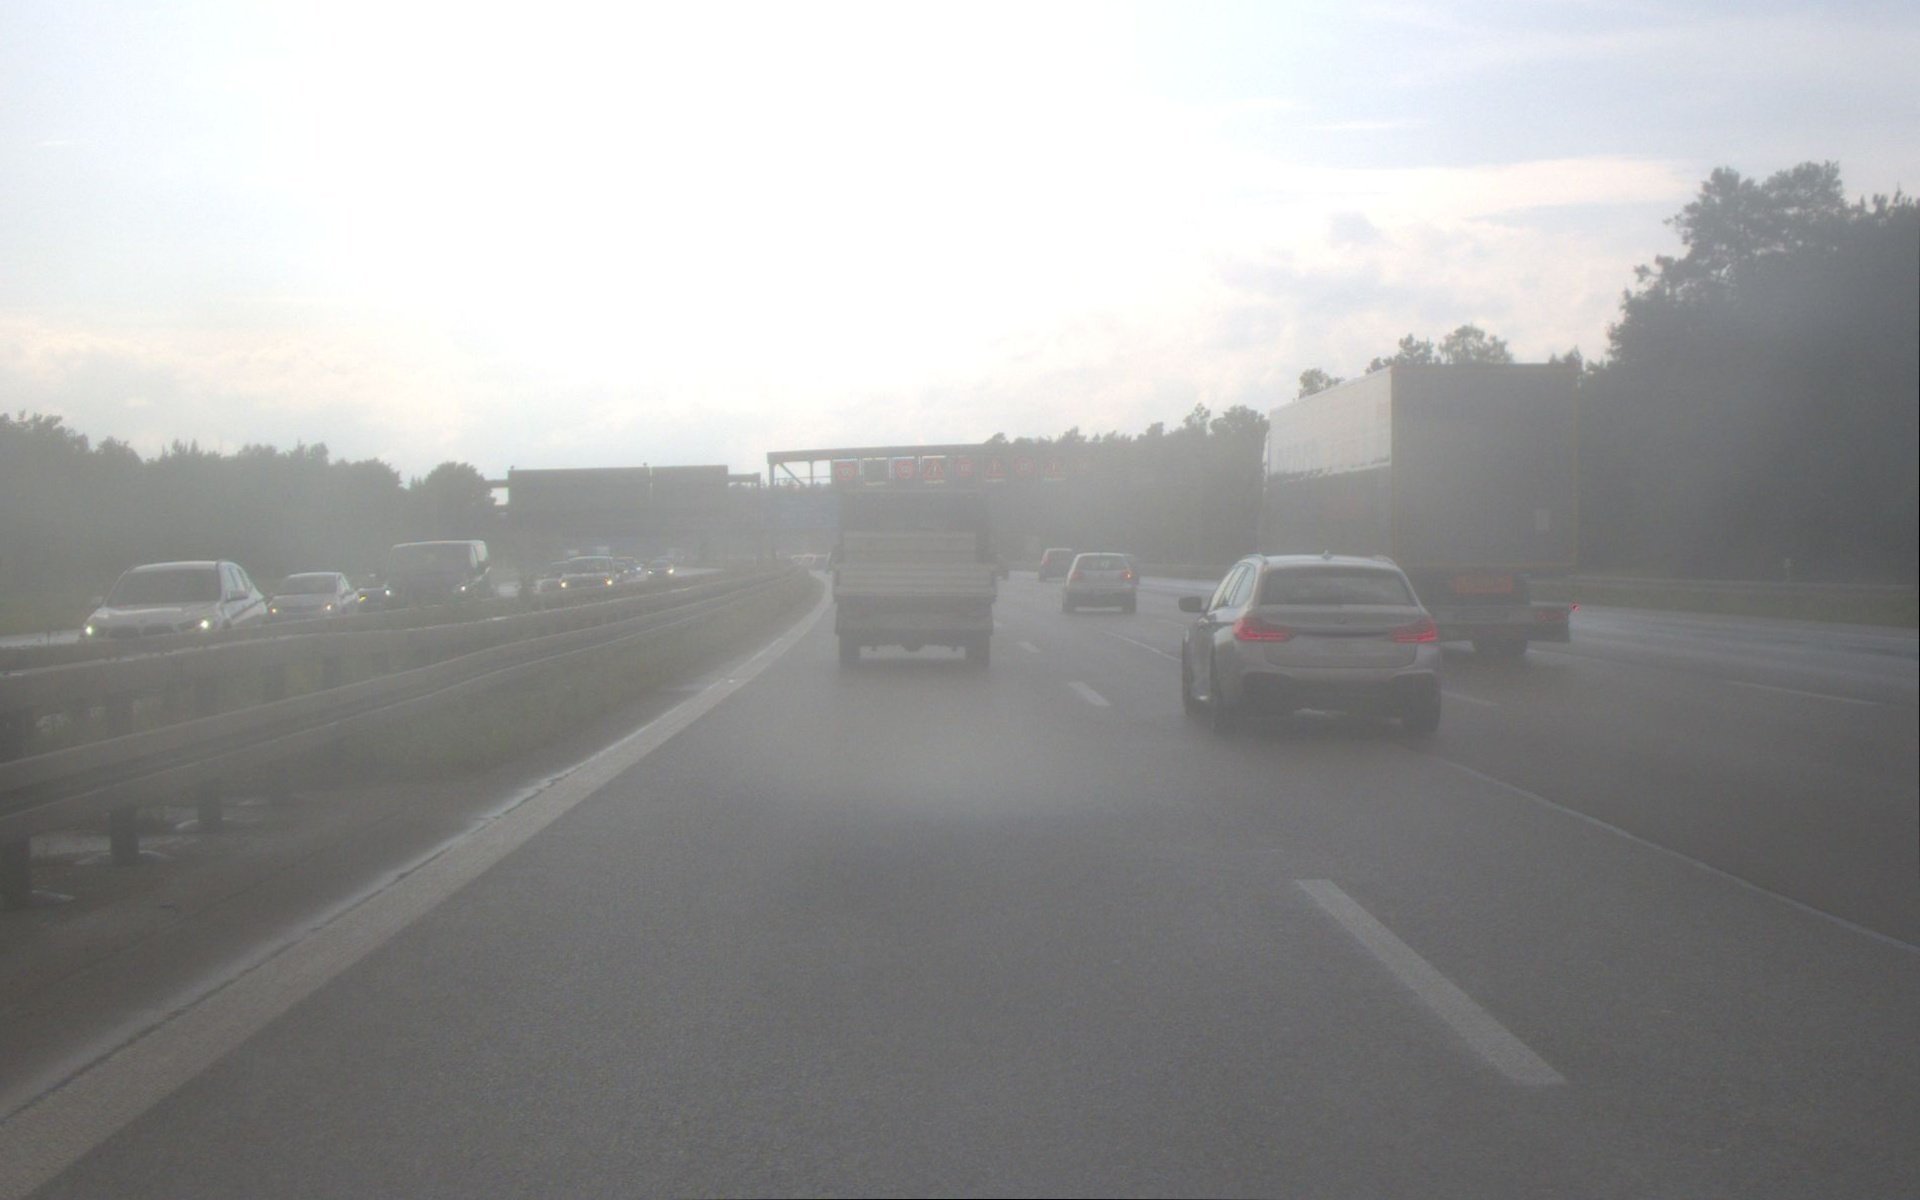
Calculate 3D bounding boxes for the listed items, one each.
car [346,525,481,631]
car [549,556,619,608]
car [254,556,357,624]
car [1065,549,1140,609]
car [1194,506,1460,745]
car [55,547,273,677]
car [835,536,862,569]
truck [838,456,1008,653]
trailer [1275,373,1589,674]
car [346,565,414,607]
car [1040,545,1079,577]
[{"bbox_3d":[-10.857,-0.449,68.584,1.993,2.007,4.627,-1,1,-1],"label":"car"},{"bbox_3d":[-11.515,-0.576,105.570,1.770,1.534,4.000,-1,1,-1],"label":"car"},{"bbox_3d":[-15.229,-0.262,80.160,1.698,1.482,4.000,-1,1,-1],"label":"car"},{"bbox_3d":[3.536,-0.546,85.821,1.831,1.461,4.000,0,1,2],"label":"car"},{"bbox_3d":[3.090,0.158,29.610,2.078,1.878,5.010,0,1,5],"label":"car"},{"bbox_3d":[-10.373,0.116,45.114,1.859,1.583,4.491,-1,1,-1],"label":"car"},{"bbox_3d":[-6.992,-2.979,215.135,1.617,2.007,4.001,1,1,-3],"label":"car"},{"bbox_3d":[-0.465,-0.628,46.017,2.137,2.480,5.313,0,1,0],"label":"truck"},{"bbox_3d":[6.945,-1.138,52.781,2.323,3.988,13.414,1,1,-3],"label":"trailer"},{"bbox_3d":[-19.992,-0.498,118.681,1.697,1.354,4.258,-1,1,-1],"label":"car"},{"bbox_3d":[5.237,-2.067,181.487,1.740,1.683,4.001,0,1,-3],"label":"car"}]
